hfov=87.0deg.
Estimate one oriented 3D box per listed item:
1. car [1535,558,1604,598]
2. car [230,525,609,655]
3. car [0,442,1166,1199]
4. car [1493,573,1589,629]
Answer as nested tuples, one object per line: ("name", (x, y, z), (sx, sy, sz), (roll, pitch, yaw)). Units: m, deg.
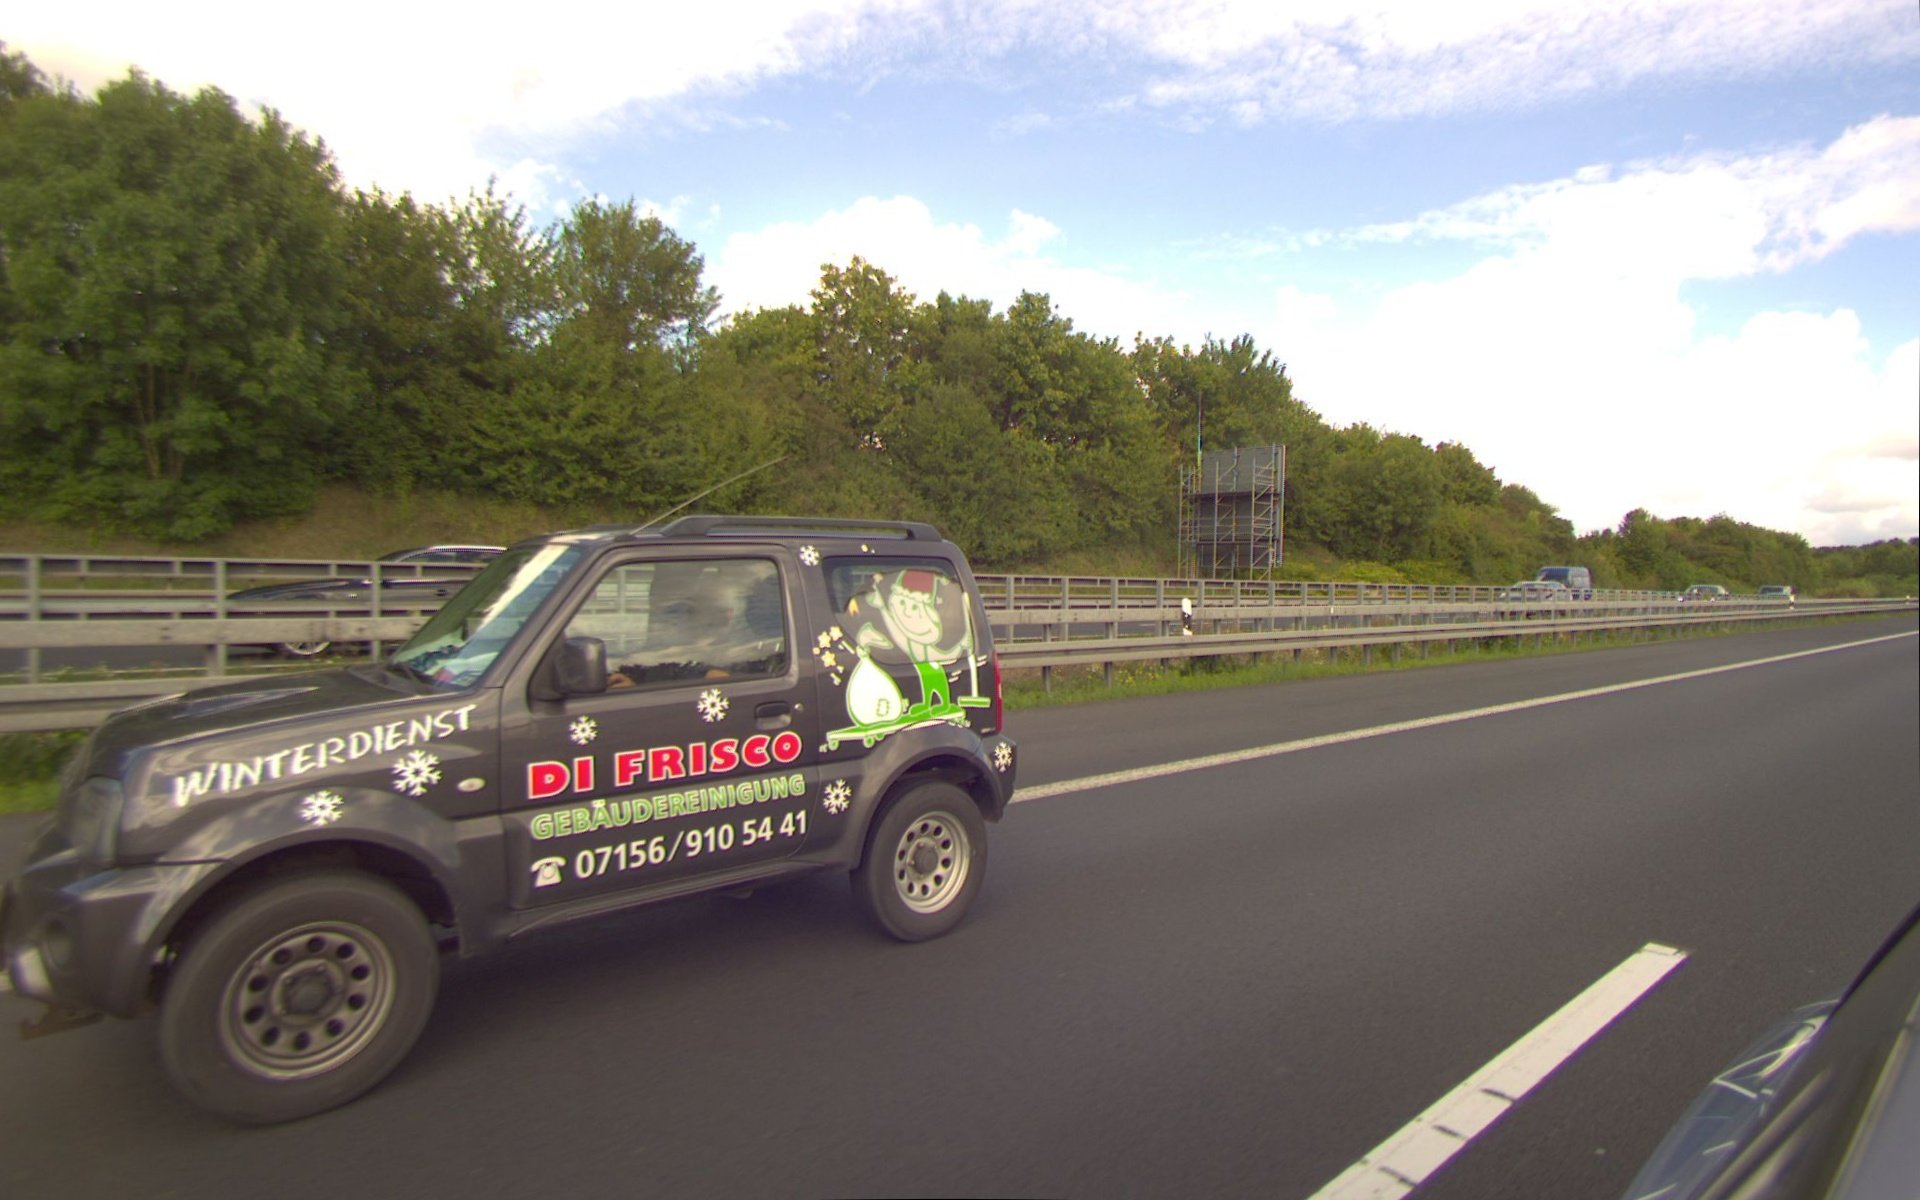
("car", (35.388, -1.267, 58.711), (5.040, 2.212, 1.997), (-1, 2, -42))
("car", (-7.249, -0.166, 13.803), (4.237, 1.502, 1.997), (-1, 2, -42))
("car", (-1.124, 0.472, 4.277), (4.132, 1.754, 1.670), (0, 2, -40))
("car", (22.837, 0.000, 39.738), (3.930, 2.038, 1.998), (0, 3, -41))
